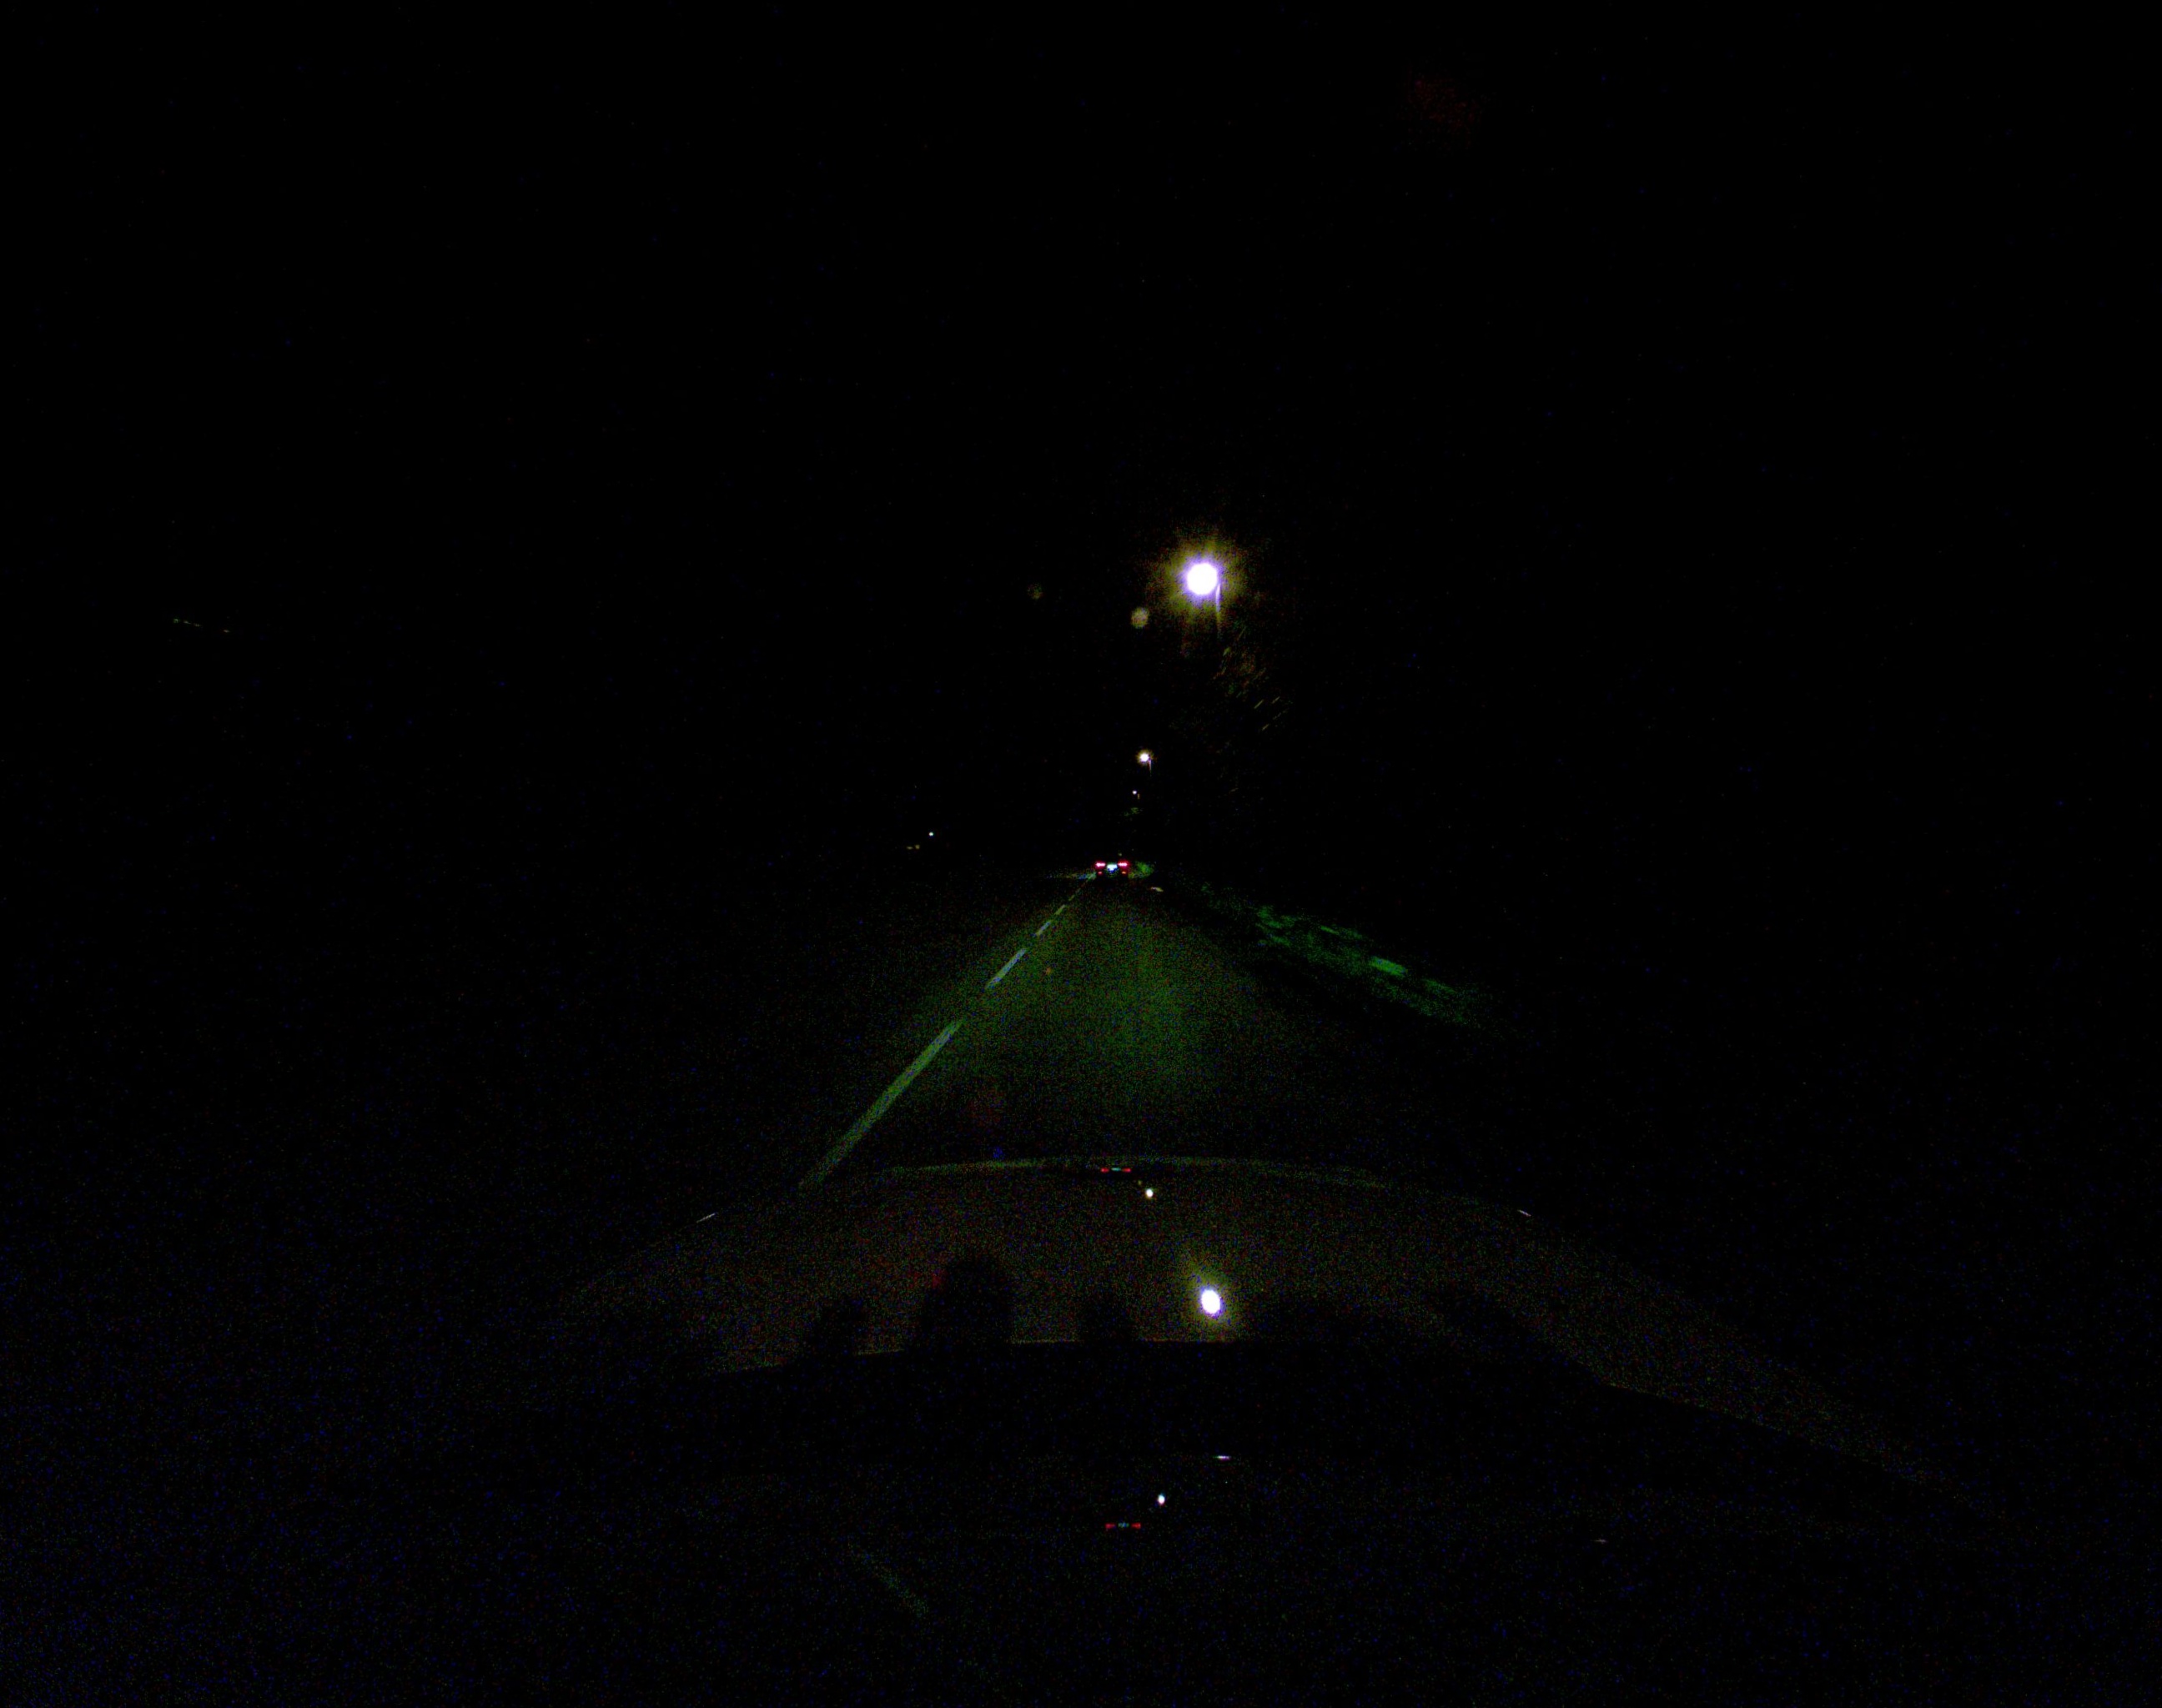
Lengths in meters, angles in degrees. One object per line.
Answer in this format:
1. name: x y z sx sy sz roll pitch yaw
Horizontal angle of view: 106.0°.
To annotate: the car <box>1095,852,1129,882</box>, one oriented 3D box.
1. car: 1.754 0.713 46.111 1.807 1.573 3.946 -2 0 2
